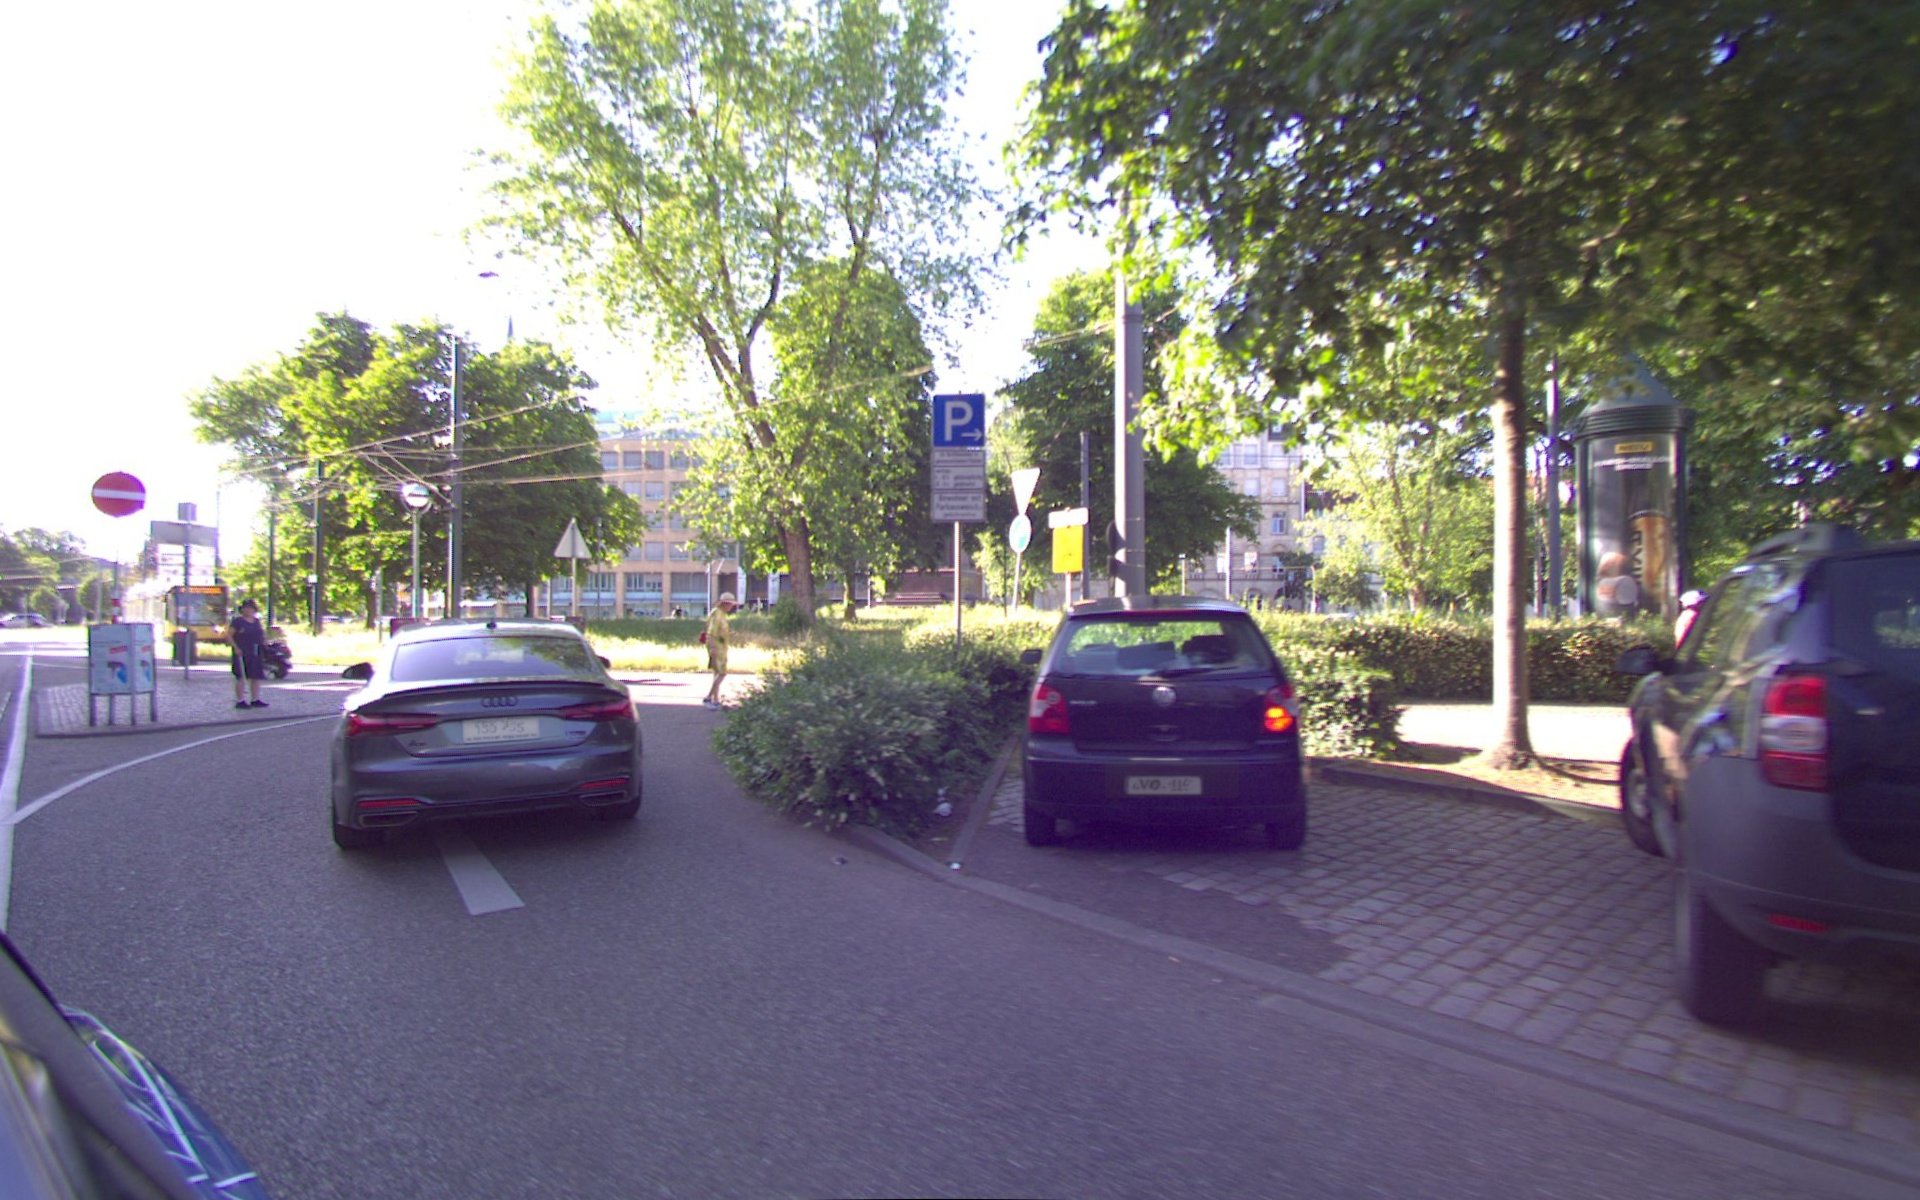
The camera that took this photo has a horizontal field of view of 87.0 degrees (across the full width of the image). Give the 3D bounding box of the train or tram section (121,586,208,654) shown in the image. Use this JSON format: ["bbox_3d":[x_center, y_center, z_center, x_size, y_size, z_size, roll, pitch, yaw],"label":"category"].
[{"bbox_3d":[-47.316,1.228,59.978,2.914,3.640,13.648,0,-1,-43],"label":"train or tram section"}]

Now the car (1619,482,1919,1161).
[{"bbox_3d":[3.858,0.519,3.915,1.993,1.680,3.958,-1,0,31],"label":"car"}]

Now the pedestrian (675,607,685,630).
[{"bbox_3d":[-20.189,1.336,72.929,0.547,1.628,0.676,0,0,-5],"label":"pedestrian"}]

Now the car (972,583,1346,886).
[{"bbox_3d":[1.389,0.648,7.096,1.856,1.481,3.984,0,0,12],"label":"car"}]

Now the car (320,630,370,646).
[{"bbox_3d":[-68.501,4.228,112.712,5.050,1.747,2.091,-1,-1,22],"label":"car"}]

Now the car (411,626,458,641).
[{"bbox_3d":[-61.820,3.920,119.116,5.177,1.681,2.109,0,0,23],"label":"car"}]

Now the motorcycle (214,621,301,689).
[{"bbox_3d":[-15.161,1.166,21.848,1.750,1.384,0.742,0,0,24],"label":"motorcycle"}]

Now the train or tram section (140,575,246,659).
[{"bbox_3d":[-38.371,0.902,50.356,2.914,3.713,13.197,0,-1,-43],"label":"train or tram section"}]

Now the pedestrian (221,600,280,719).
[{"bbox_3d":[-10.382,0.842,14.812,0.628,1.685,0.693,0,0,-42],"label":"pedestrian"}]

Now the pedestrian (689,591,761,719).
[{"bbox_3d":[-3.232,0.740,13.939,0.795,1.712,0.669,0,0,6],"label":"pedestrian"}]

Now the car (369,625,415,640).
[{"bbox_3d":[-62.101,3.516,110.622,4.630,1.528,1.986,0,0,22],"label":"car"}]

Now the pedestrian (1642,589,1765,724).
[{"bbox_3d":[8.779,0.638,11.984,0.950,1.533,0.766,0,0,16],"label":"pedestrian"}]

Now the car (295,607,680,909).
[{"bbox_3d":[-3.669,0.795,7.549,1.885,1.427,4.825,-1,0,-30],"label":"car"}]
